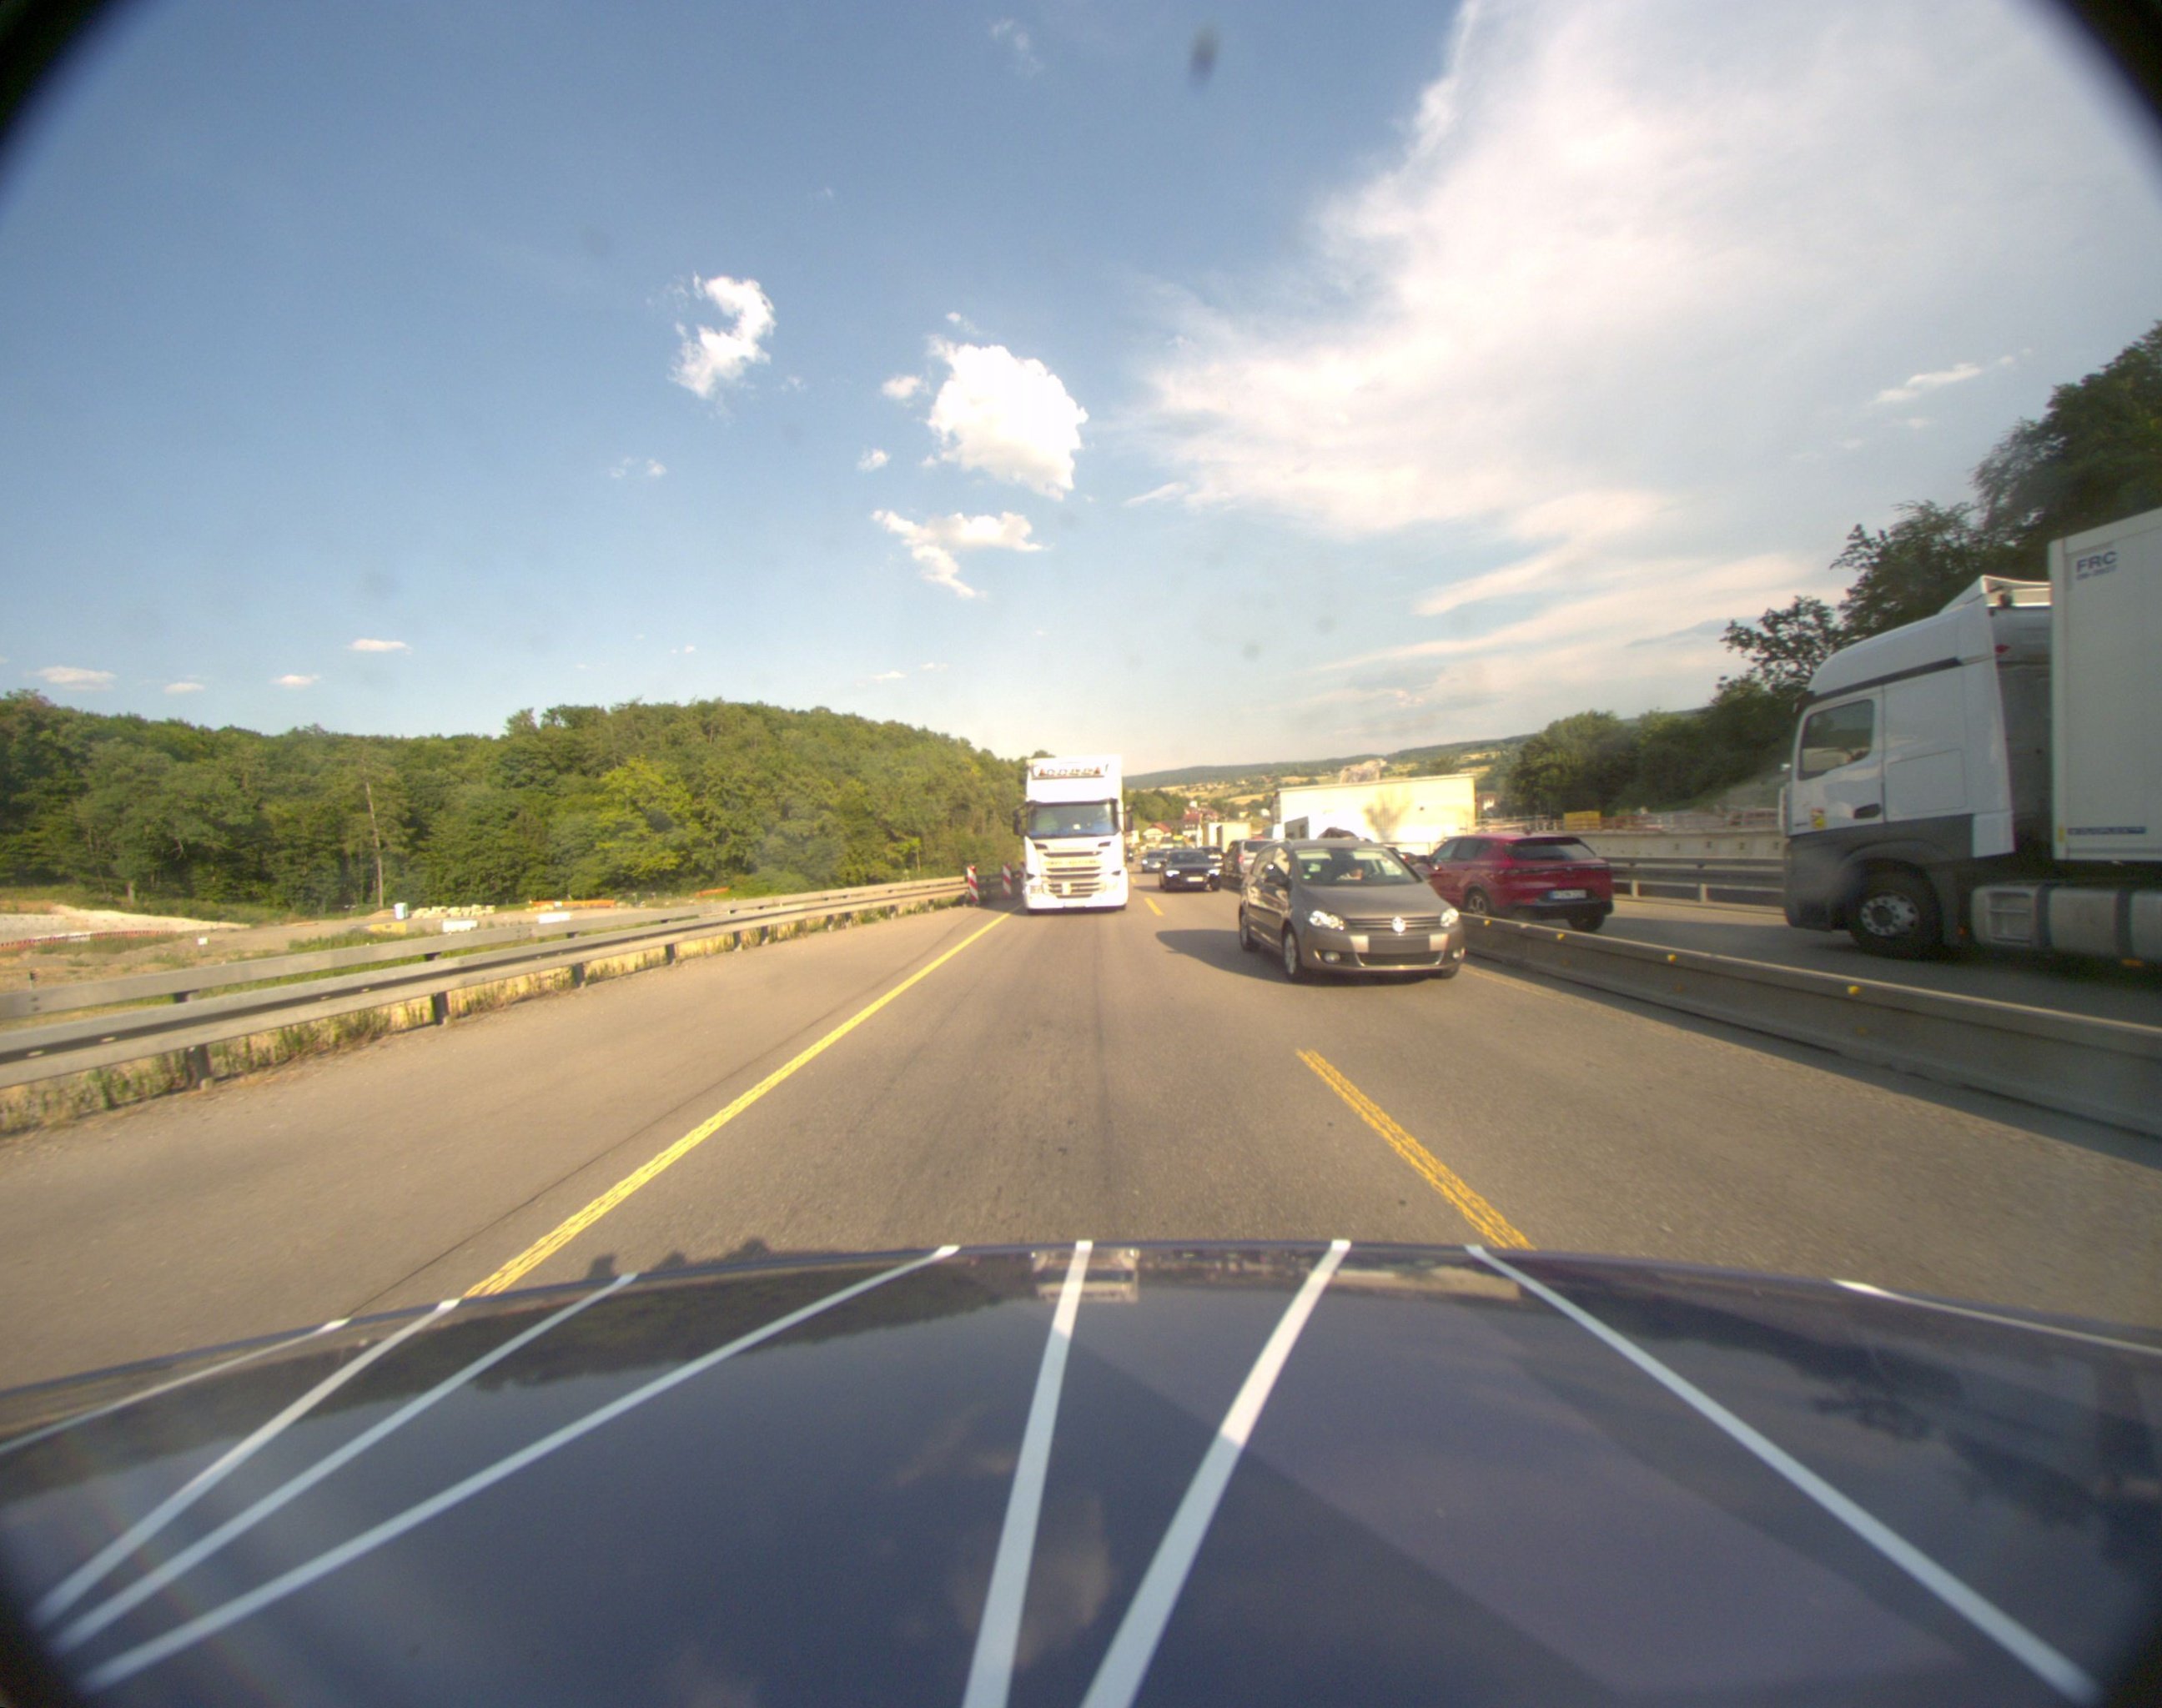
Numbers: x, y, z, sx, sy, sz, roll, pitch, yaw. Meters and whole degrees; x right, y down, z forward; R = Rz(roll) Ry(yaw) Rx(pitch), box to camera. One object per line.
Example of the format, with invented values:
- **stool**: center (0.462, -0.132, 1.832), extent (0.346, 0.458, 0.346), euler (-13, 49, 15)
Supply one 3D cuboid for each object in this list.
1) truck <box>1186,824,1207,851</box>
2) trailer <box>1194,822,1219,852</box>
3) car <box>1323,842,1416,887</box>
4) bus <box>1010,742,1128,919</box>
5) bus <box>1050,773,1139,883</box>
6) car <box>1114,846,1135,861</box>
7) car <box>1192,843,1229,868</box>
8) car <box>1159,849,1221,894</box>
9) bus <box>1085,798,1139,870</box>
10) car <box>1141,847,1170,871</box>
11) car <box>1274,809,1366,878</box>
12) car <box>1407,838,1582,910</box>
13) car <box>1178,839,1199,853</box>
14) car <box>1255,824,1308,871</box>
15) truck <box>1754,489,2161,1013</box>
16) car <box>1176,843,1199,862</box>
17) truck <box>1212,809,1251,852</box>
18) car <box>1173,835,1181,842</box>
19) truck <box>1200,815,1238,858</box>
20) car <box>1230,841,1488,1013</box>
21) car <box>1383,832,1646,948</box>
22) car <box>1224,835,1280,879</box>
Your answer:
- **truck**: center (17.555, -2.521, 115.809), extent (2.849, 4.013, 6.103), euler (-2, 1, 7)
- **trailer**: center (17.874, -2.434, 109.116), extent (2.863, 4.013, 13.975), euler (-2, 1, 7)
- **car**: center (10.385, 0.307, 27.731), extent (1.753, 1.414, 4.609), euler (-3, 1, 2)
- **bus**: center (0.075, -0.649, 23.332), extent (2.634, 4.077, 11.314), euler (-1, 1, 4)
- **bus**: center (0.939, -1.137, 36.993), extent (2.983, 4.553, 9.973), euler (-2, 0, 8)
- **car**: center (5.240, -0.072, 91.470), extent (1.999, 1.630, 3.998), euler (-2, 1, -3)
- **car**: center (8.376, 0.125, 49.564), extent (1.821, 1.569, 4.756), euler (0, 0, 3)
- **car**: center (3.798, 0.554, 27.024), extent (1.866, 1.391, 4.000), euler (-1, 1, 4)
- **bus**: center (2.417, -1.305, 54.254), extent (2.984, 4.553, 10.907), euler (-2, 0, 6)
- **car**: center (4.799, 0.290, 49.174), extent (1.698, 1.390, 4.001), euler (-3, 0, 4)
- **car**: center (11.094, -0.512, 36.005), extent (2.339, 2.901, 7.633), euler (-1, 1, 3)
- **car**: center (9.723, 0.410, 18.380), extent (1.747, 1.452, 4.713), euler (-2, 0, 2)
- **car**: center (11.720, -0.881, 83.115), extent (2.062, 1.478, 4.729), euler (1, 0, 6)
- **car**: center (11.737, -0.420, 44.859), extent (1.961, 2.606, 5.749), euler (-1, 1, 4)
- **truck**: center (10.031, -0.868, 6.913), extent (2.720, 4.194, 5.681), euler (-2, 1, 0)
- **car**: center (9.415, -0.117, 67.265), extent (1.786, 1.513, 4.002), euler (-3, 0, 6)
- **truck**: center (13.016, -1.943, 66.174), extent (2.452, 3.443, 7.619), euler (-2, 1, 5)
- **car**: center (26.404, -4.215, 208.295), extent (1.821, 1.988, 4.756), euler (0, 0, 3)
- **truck**: center (14.474, -1.826, 80.848), extent (2.713, 4.065, 14.156), euler (-1, 1, 5)
- **car**: center (3.035, 0.664, 9.237), extent (1.688, 1.565, 4.099), euler (-2, 1, 2)
- **car**: center (7.026, 0.517, 12.985), extent (1.892, 1.559, 4.455), euler (-3, 0, 0)
- **car**: center (7.665, 0.153, 34.502), extent (1.808, 1.761, 5.455), euler (-2, -1, 6)
